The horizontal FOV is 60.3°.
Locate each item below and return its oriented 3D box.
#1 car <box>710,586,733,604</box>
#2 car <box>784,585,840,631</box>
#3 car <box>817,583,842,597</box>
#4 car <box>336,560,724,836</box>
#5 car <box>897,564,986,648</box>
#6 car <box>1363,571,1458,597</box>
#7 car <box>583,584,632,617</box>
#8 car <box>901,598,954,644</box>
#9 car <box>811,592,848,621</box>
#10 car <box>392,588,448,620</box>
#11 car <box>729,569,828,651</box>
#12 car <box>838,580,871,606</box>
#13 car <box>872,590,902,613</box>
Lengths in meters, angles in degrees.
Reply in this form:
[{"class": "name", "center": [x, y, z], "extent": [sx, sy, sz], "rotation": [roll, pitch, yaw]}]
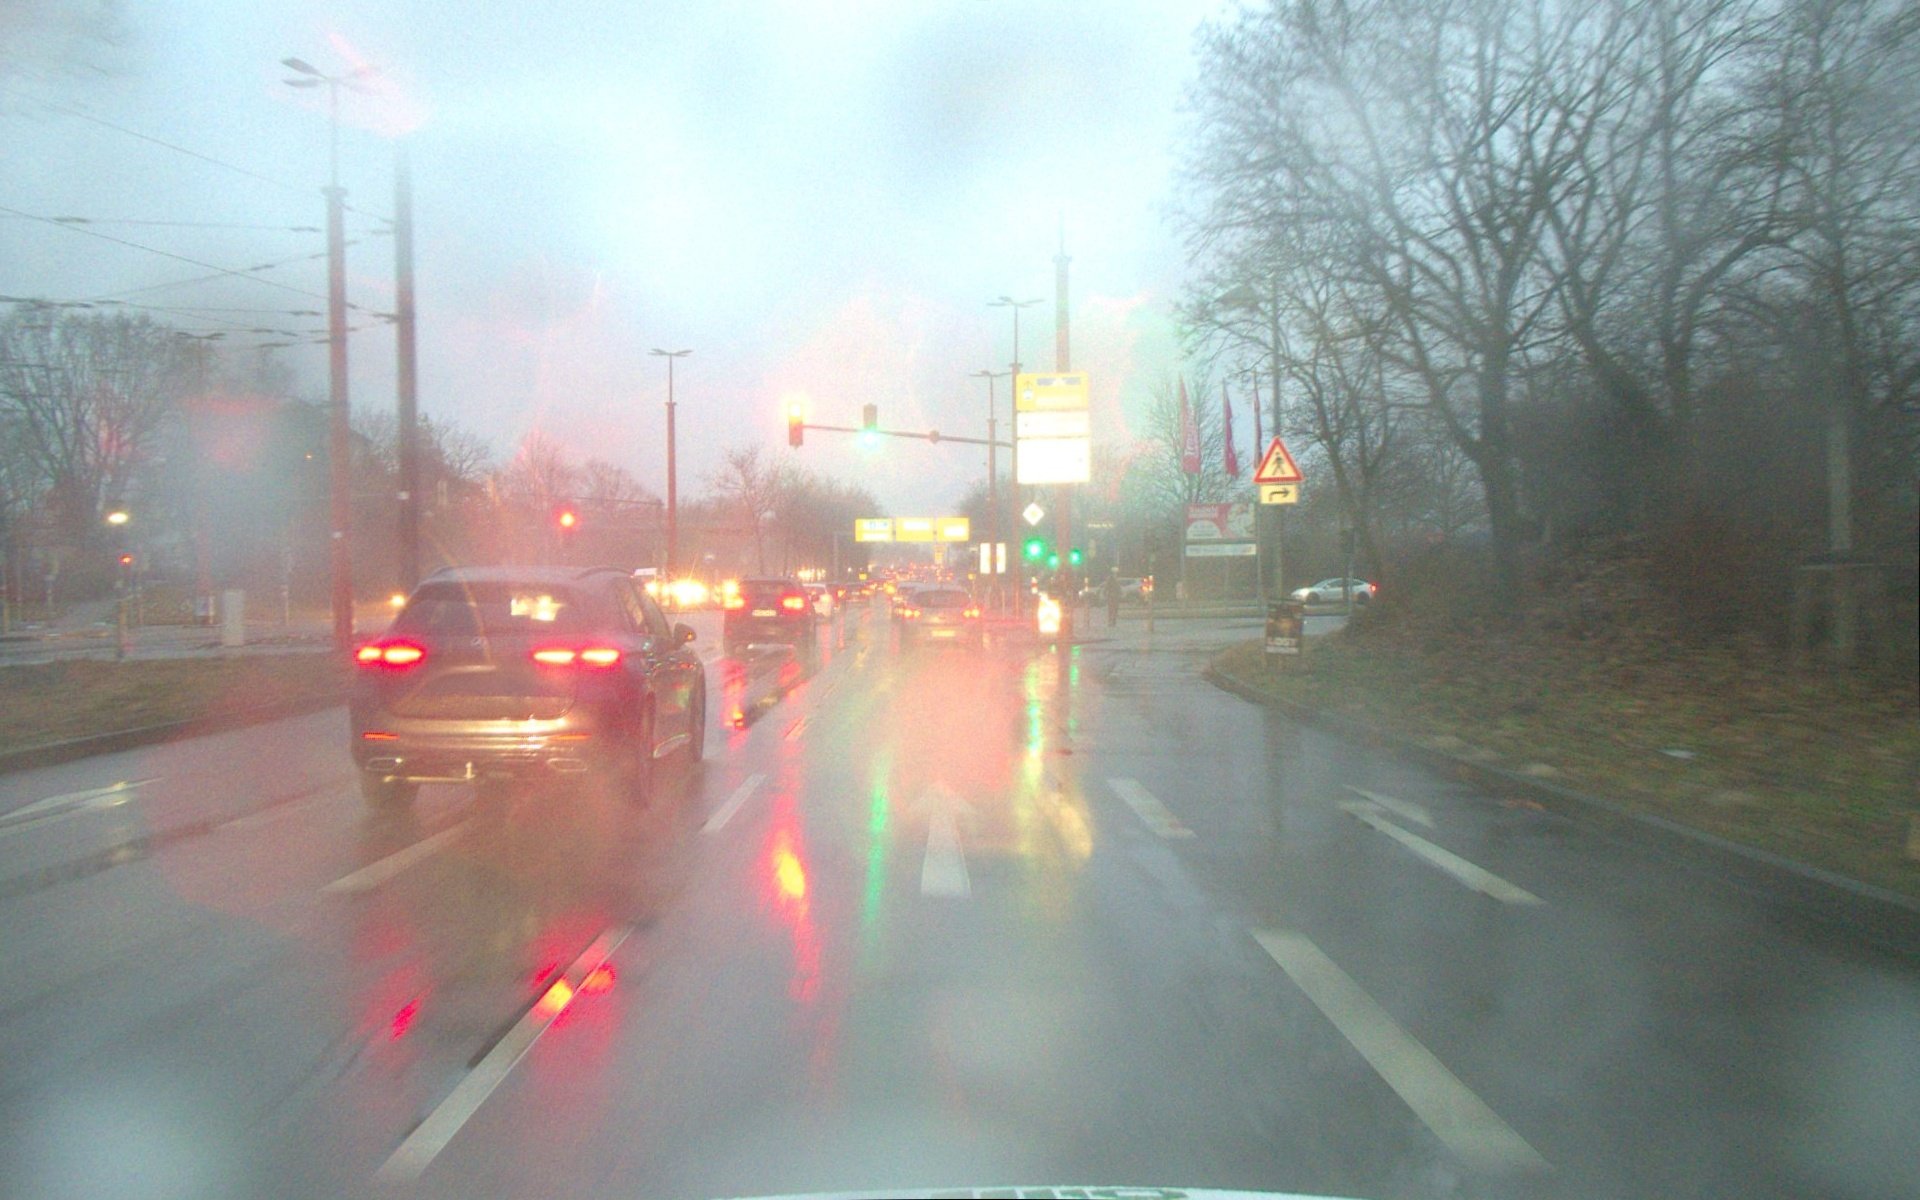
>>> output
[{"class": "car", "center": [-21.958, -0.441, 152.401], "extent": [1.734, 1.614, 4.032], "rotation": [-1, 1, -2]}, {"class": "car", "center": [-5.522, 0.270, 62.223], "extent": [1.785, 1.676, 3.999], "rotation": [0, 0, -1]}, {"class": "car", "center": [-11.825, -0.916, 150.353], "extent": [1.953, 1.262, 3.999], "rotation": [1, 0, -1]}, {"class": "car", "center": [-2.953, 0.584, 12.371], "extent": [1.785, 1.676, 4.466], "rotation": [0, 0, -1]}, {"class": "car", "center": [-0.411, 0.109, 35.968], "extent": [1.785, 1.676, 4.466], "rotation": [-1, 0, -1]}, {"class": "car", "center": [24.586, -0.877, 90.340], "extent": [4.645, 1.400, 1.882], "rotation": [0, 0, -3]}, {"class": "car", "center": [-18.276, 0.001, 85.836], "extent": [1.820, 1.609, 4.077], "rotation": [-1, 1, -3]}, {"class": "car", "center": [-1.236, 0.776, 62.851], "extent": [1.953, 1.691, 3.999], "rotation": [1, 0, -1]}, {"class": "car", "center": [-6.186, 0.295, 78.794], "extent": [1.474, 1.362, 3.999], "rotation": [0, 0, -1]}, {"class": "car", "center": [-27.527, 0.191, 84.452], "extent": [1.586, 1.521, 4.016], "rotation": [-1, 1, -1]}, {"class": "car", "center": [-3.930, 0.193, 36.364], "extent": [1.785, 1.676, 3.999], "rotation": [0, 0, -1]}, {"class": "car", "center": [-6.346, -0.450, 100.212], "extent": [1.785, 1.530, 3.999], "rotation": [0, 0, -1]}, {"class": "car", "center": [-5.034, 0.112, 114.117], "extent": [1.953, 1.531, 3.999], "rotation": [1, 0, -1]}]
